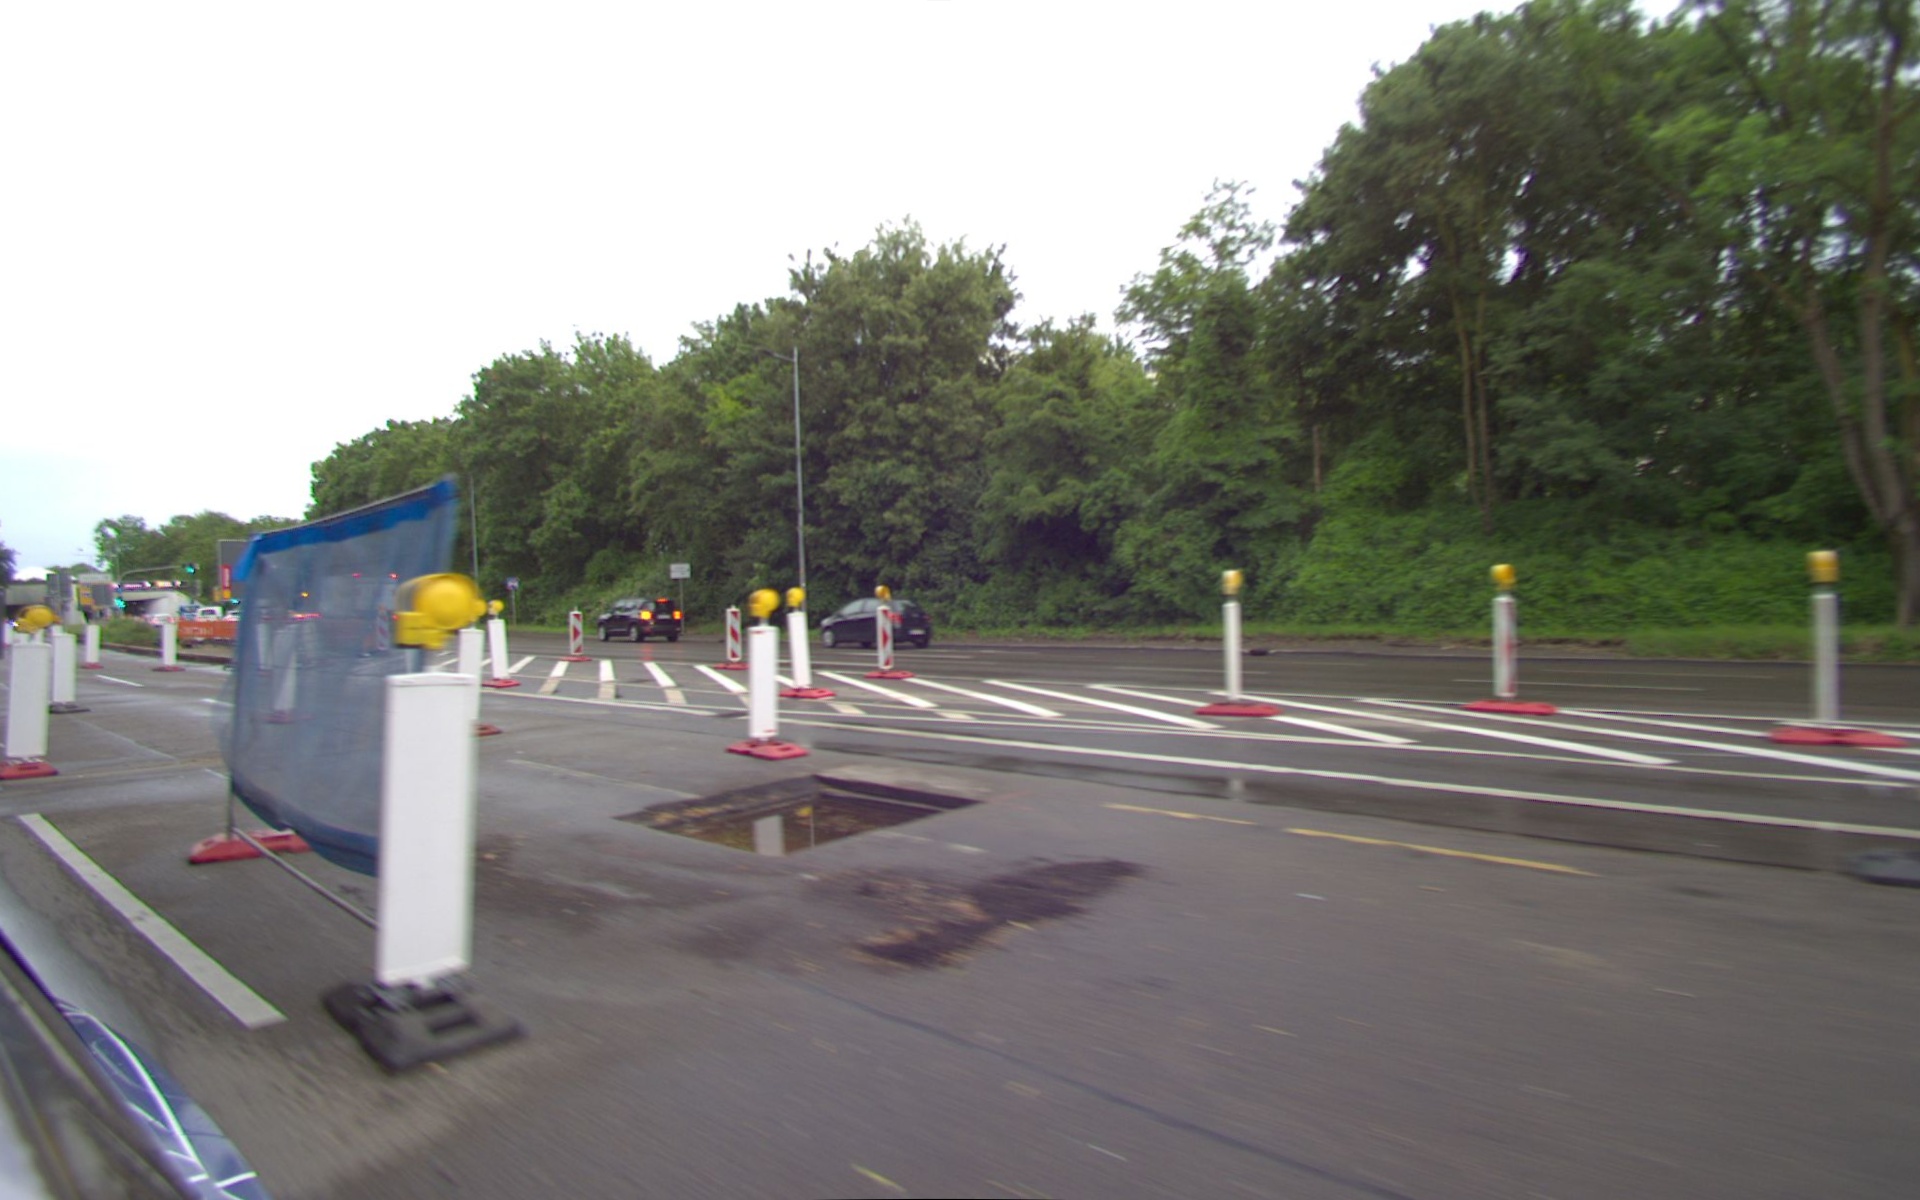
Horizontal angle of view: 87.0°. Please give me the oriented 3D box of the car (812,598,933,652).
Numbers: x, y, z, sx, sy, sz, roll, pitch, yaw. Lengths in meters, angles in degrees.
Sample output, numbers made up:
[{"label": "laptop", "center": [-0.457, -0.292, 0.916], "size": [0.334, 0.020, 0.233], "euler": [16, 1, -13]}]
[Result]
[{"label": "car", "center": [-2.592, 0.733, 29.579], "size": [3.538, 1.468, 1.509], "euler": [-2, -2, 42]}]

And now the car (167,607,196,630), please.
[{"label": "car", "center": [-90.912, 2.193, 118.127], "size": [2.169, 2.408, 6.251], "euler": [-3, 0, -42]}]

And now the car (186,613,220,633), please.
[{"label": "car", "center": [-75.898, 2.326, 101.448], "size": [4.835, 1.794, 1.893], "euler": [-2, 0, 44]}]

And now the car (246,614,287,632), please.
[{"label": "car", "center": [-48.928, 1.595, 71.364], "size": [4.284, 1.161, 1.587], "euler": [-1, 0, 45]}]

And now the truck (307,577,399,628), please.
[{"label": "truck", "center": [-40.370, 0.219, 67.139], "size": [10.152, 3.172, 2.764], "euler": [-1, 0, 45]}]

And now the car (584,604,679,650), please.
[{"label": "car", "center": [-12.699, 1.025, 38.989], "size": [4.198, 1.660, 1.618], "euler": [-2, -1, 42]}]

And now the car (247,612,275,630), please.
[{"label": "car", "center": [-65.190, 1.966, 94.426], "size": [1.651, 1.535, 3.794], "euler": [-3, 1, -42]}]

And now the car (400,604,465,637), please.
[{"label": "car", "center": [-29.553, 1.162, 56.591], "size": [4.721, 1.736, 1.823], "euler": [-2, -3, 44]}]

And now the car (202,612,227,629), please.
[{"label": "car", "center": [-98.263, 2.747, 133.380], "size": [2.010, 1.989, 4.996], "euler": [-3, 0, -42]}]

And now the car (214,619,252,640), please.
[{"label": "car", "center": [-59.341, 2.383, 82.587], "size": [4.041, 1.562, 1.814], "euler": [-2, 0, 44]}]
